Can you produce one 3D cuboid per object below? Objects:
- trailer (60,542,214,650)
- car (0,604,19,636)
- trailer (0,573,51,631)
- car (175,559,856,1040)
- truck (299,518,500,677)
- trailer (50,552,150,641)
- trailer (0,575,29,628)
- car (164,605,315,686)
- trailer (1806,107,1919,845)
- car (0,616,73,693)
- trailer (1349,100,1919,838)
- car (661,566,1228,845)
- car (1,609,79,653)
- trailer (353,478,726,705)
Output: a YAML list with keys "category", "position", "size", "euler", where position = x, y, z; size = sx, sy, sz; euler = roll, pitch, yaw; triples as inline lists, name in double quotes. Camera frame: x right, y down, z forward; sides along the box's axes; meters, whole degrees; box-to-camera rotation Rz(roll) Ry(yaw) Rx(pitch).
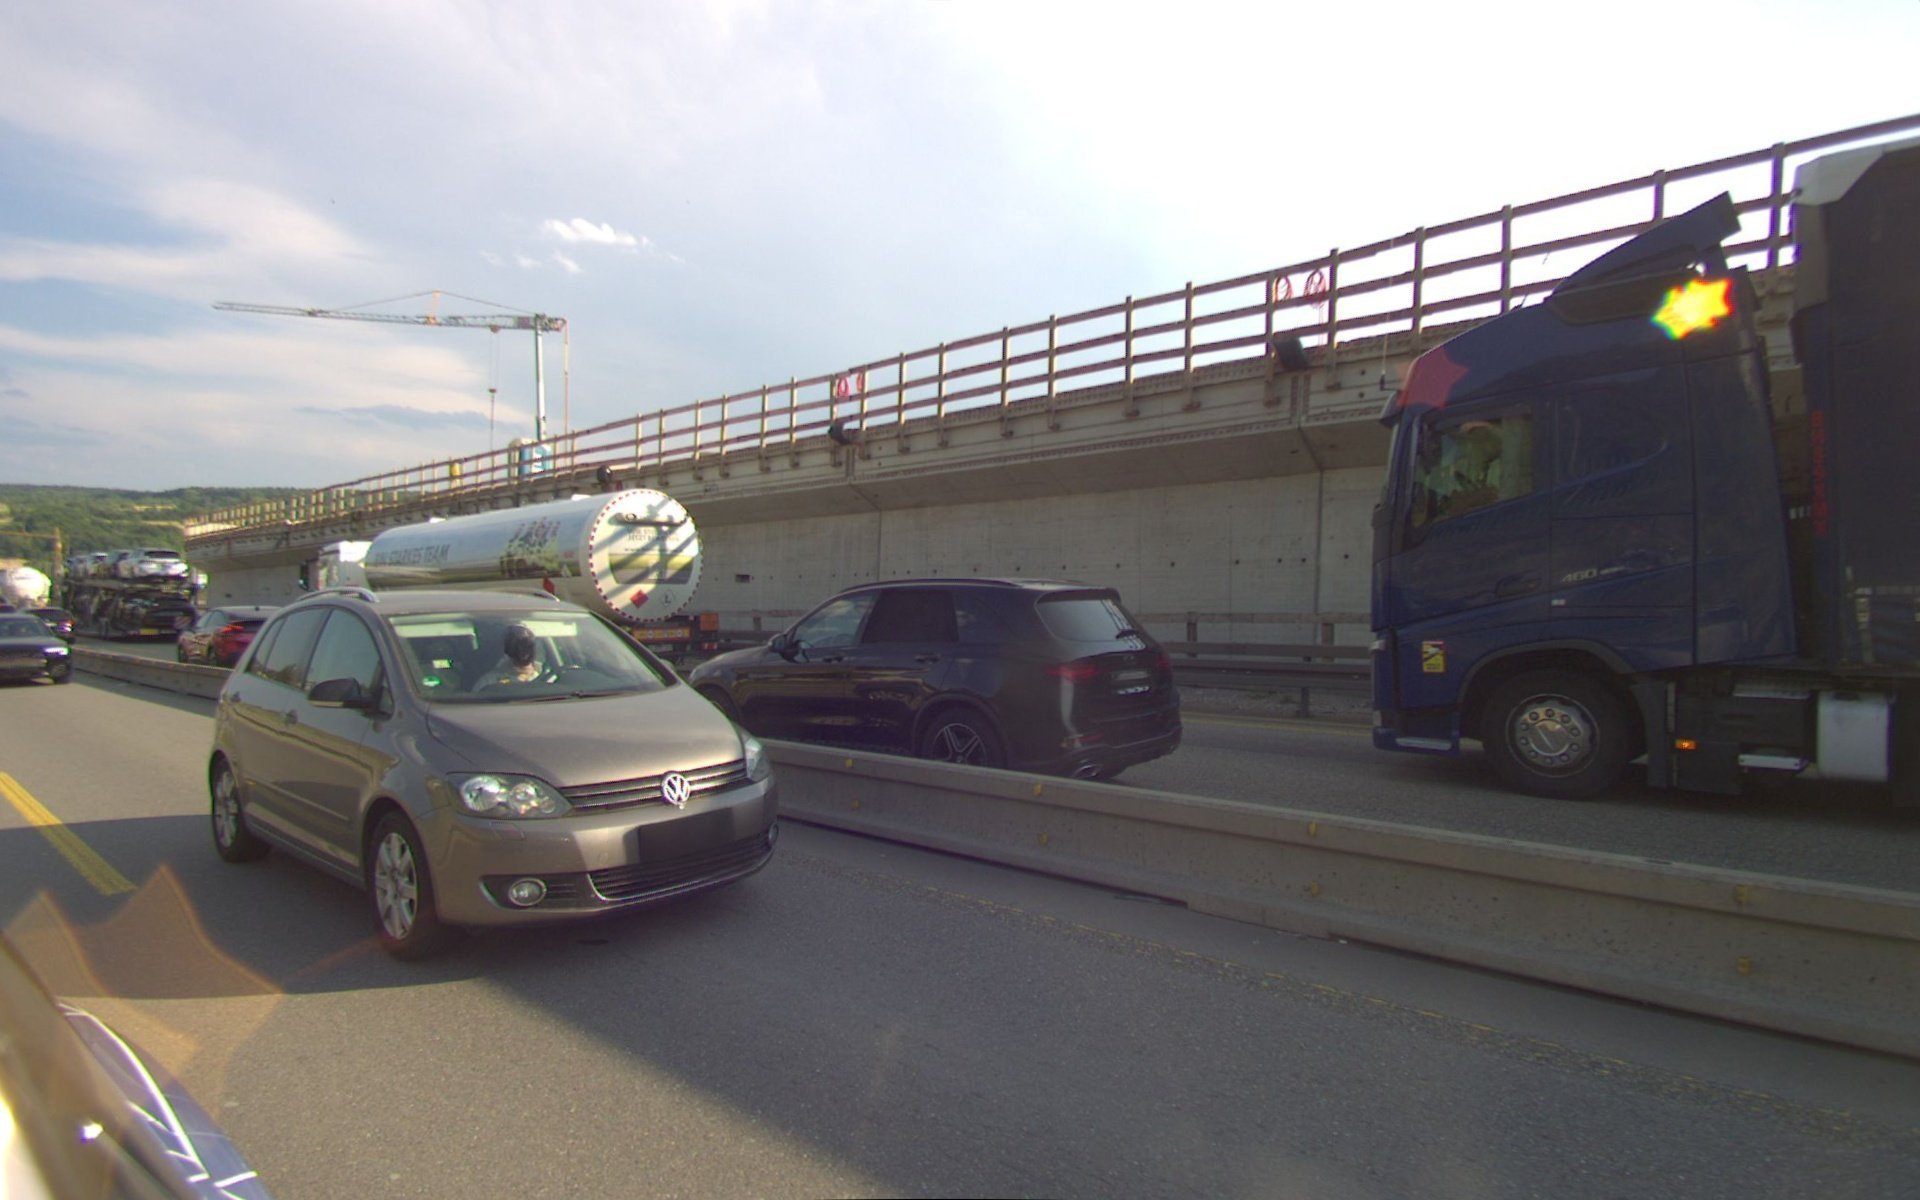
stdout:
- category: "trailer"
  position: [-36.568, -0.168, 44.570]
  size: [15.757, 4.061, 2.742]
  euler: [0, 0, 42]
- category: "car"
  position: [-50.228, 0.999, 52.440]
  size: [4.337, 1.589, 1.738]
  euler: [0, 0, 41]
- category: "trailer"
  position: [-67.781, 0.118, 72.213]
  size: [13.435, 3.879, 2.625]
  euler: [0, 0, 41]
- category: "car"
  position: [-2.629, 0.652, 5.404]
  size: [4.270, 1.600, 1.663]
  euler: [1, 0, 41]
- category: "truck"
  position: [-13.716, -0.059, 24.610]
  size: [5.528, 3.435, 2.522]
  euler: [0, 0, 41]
- category: "trailer"
  position: [-42.151, -0.173, 49.525]
  size: [7.205, 4.061, 2.742]
  euler: [0, 0, 41]
- category: "trailer"
  position: [-72.503, 0.115, 76.330]
  size: [6.425, 3.879, 2.625]
  euler: [0, 0, 41]
- category: "car"
  position: [-15.769, 0.940, 22.082]
  size: [4.294, 1.569, 1.708]
  euler: [-1, 0, 41]
- category: "trailer"
  position: [11.261, -0.850, 2.470]
  size: [14.016, 4.173, 2.736]
  euler: [-2, -1, 41]
- category: "car"
  position: [-19.774, 1.061, 20.741]
  size: [4.347, 1.430, 1.849]
  euler: [0, 0, 41]
- category: "trailer"
  position: [6.183, -0.745, 6.879]
  size: [5.972, 4.173, 2.736]
  euler: [-2, -1, 41]
- category: "car"
  position: [-0.379, 0.619, 8.157]
  size: [4.686, 1.657, 1.624]
  euler: [0, 0, 41]
- category: "car"
  position: [-35.946, 1.162, 39.503]
  size: [4.835, 1.563, 1.747]
  euler: [0, 0, 42]
- category: "trailer"
  position: [-8.933, -0.146, 20.371]
  size: [10.677, 3.553, 2.530]
  euler: [0, 0, 42]
